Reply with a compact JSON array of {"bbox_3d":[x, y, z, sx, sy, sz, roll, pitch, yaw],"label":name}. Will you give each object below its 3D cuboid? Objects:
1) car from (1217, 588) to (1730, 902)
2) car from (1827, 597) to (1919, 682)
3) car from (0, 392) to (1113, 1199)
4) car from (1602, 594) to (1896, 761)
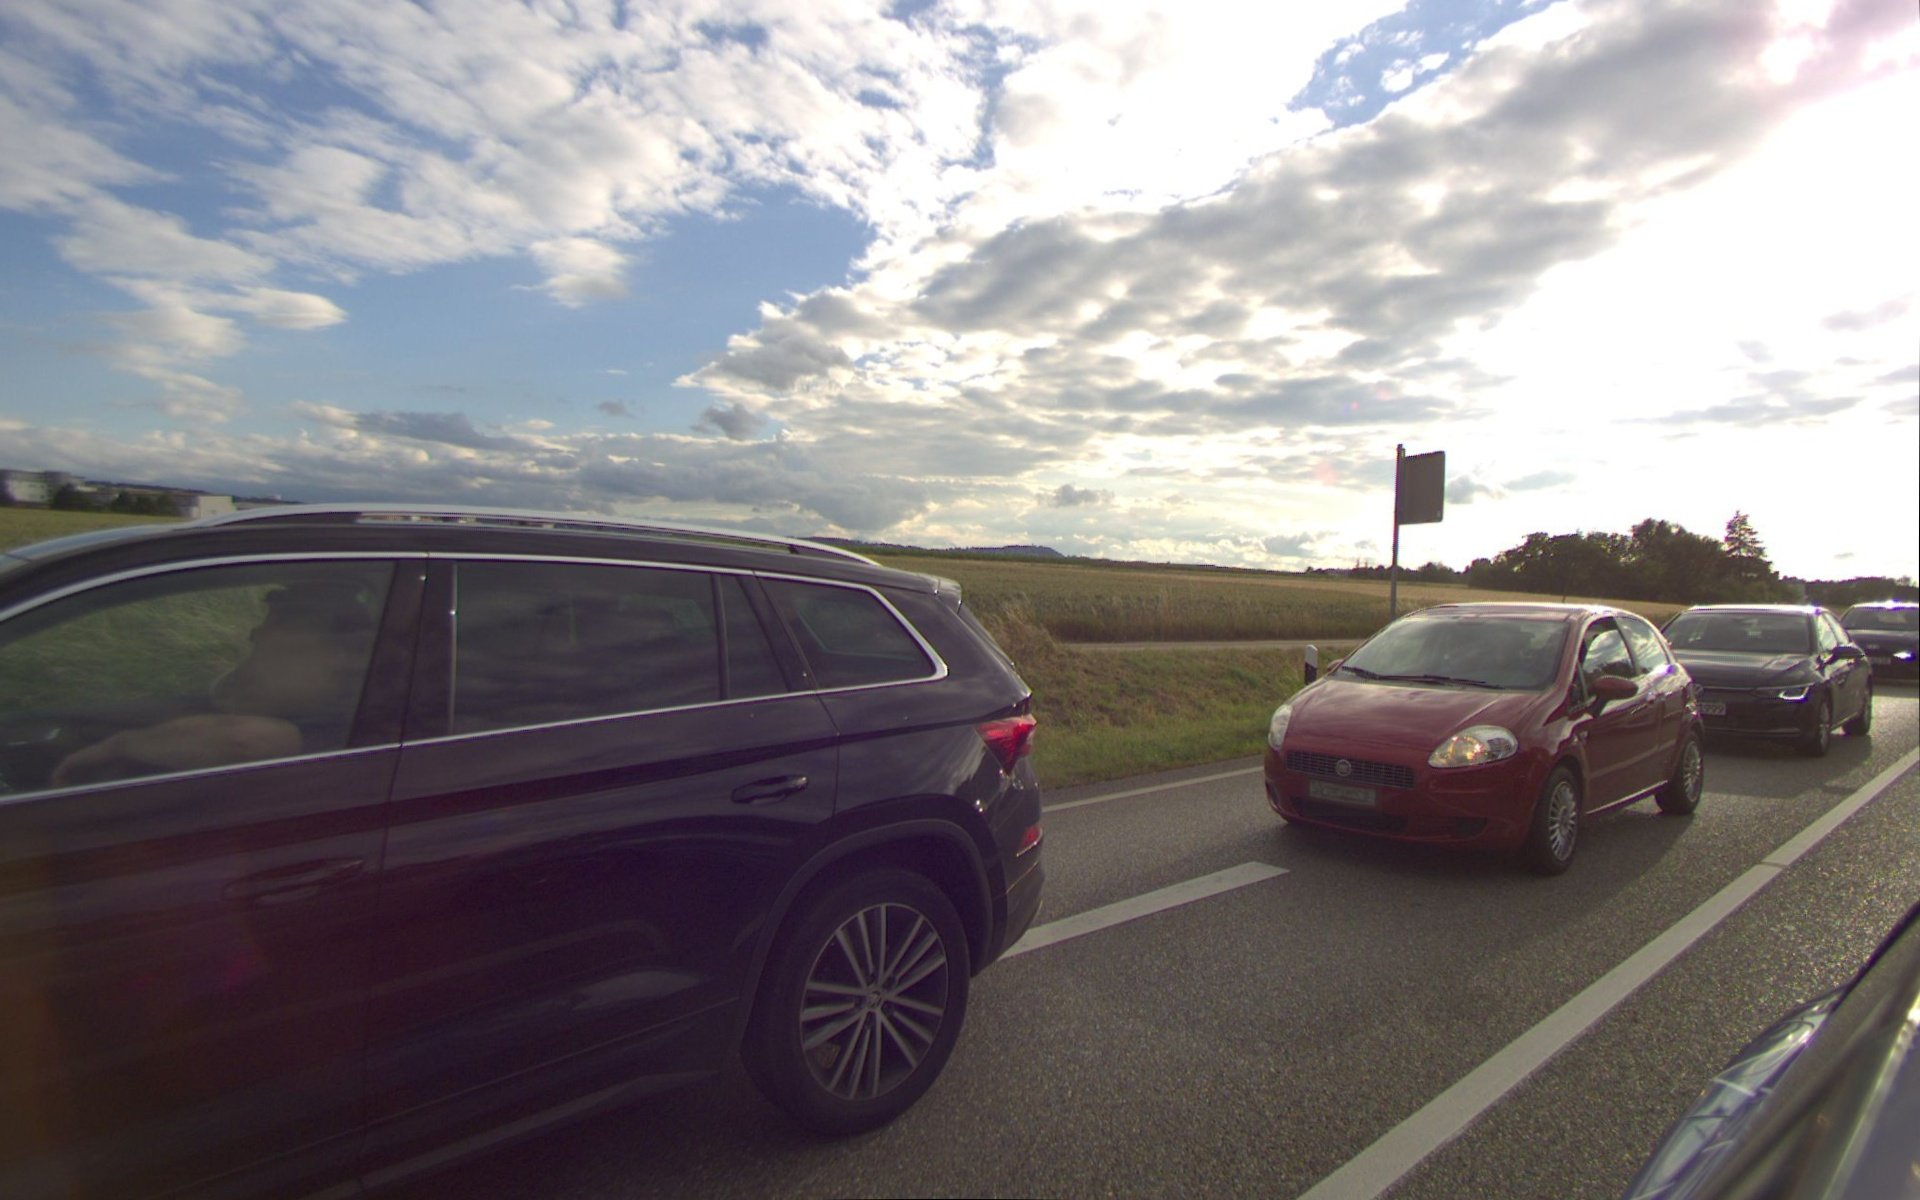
[{"bbox_3d":[3.553,0.670,6.701,3.840,1.475,1.710,-1,0,-41],"label":"car"},{"bbox_3d":[18.228,0.691,19.459,3.962,1.475,1.797,0,0,-41],"label":"car"},{"bbox_3d":[-1.789,0.533,2.553,4.477,1.730,1.839,-1,0,-41],"label":"car"},{"bbox_3d":[8.706,0.685,11.049,3.962,1.475,1.797,0,0,-41],"label":"car"}]
